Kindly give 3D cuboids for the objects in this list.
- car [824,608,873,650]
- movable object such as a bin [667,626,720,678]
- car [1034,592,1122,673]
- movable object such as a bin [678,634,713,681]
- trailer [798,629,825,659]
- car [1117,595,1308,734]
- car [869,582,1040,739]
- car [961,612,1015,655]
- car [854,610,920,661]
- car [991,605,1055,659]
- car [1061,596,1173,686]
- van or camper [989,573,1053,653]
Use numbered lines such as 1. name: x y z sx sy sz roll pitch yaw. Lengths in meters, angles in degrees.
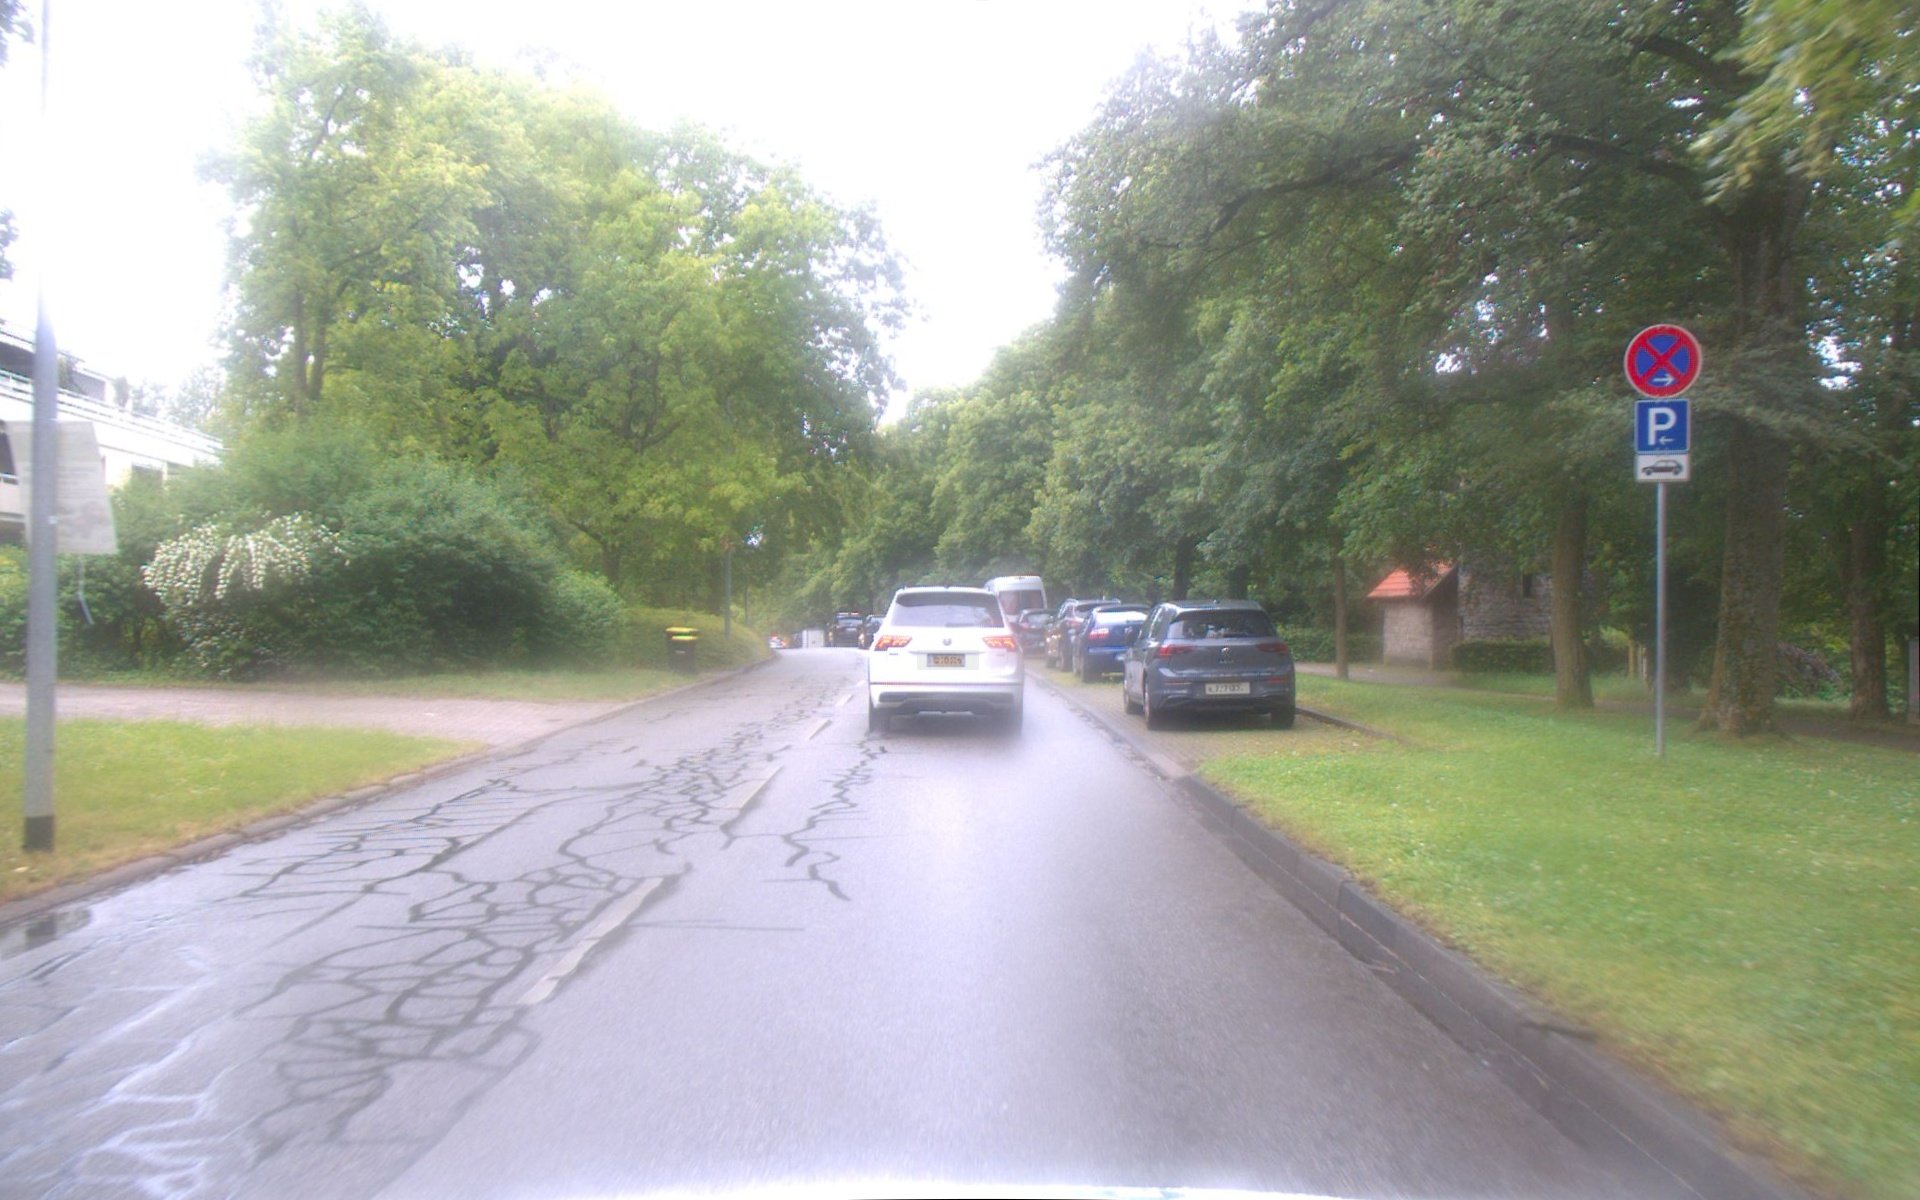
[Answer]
1. car: -5.828 1.494 86.280 1.959 2.049 3.987 0 1 -13
2. movable object such as a bin: -5.943 1.157 36.884 1.016 1.124 0.966 0 -1 0
3. car: 2.695 0.725 38.595 1.745 1.749 4.261 -1 0 0
4. movable object such as a bin: -5.769 1.251 36.128 0.635 0.996 0.578 1 -1 0
5. trailer: -11.295 3.349 125.477 1.503 2.112 3.985 -1 -3 -13
6. car: 3.008 0.727 20.477 1.666 1.487 4.217 -2 0 0
7. car: -0.163 0.676 20.280 1.867 1.715 4.198 1 0 -3
8. car: 1.078 1.314 65.859 1.769 1.566 4.263 -2 -1 -4
9. car: -3.204 1.511 71.588 1.961 2.049 3.982 0 1 -16
10. car: 1.876 0.951 50.405 1.827 1.538 3.724 -1 0 0
11. car: 2.980 0.745 32.021 1.708 1.477 4.000 5 0 0
12. van or camper: 2.104 0.439 59.118 1.974 2.628 8.435 1 0 0
